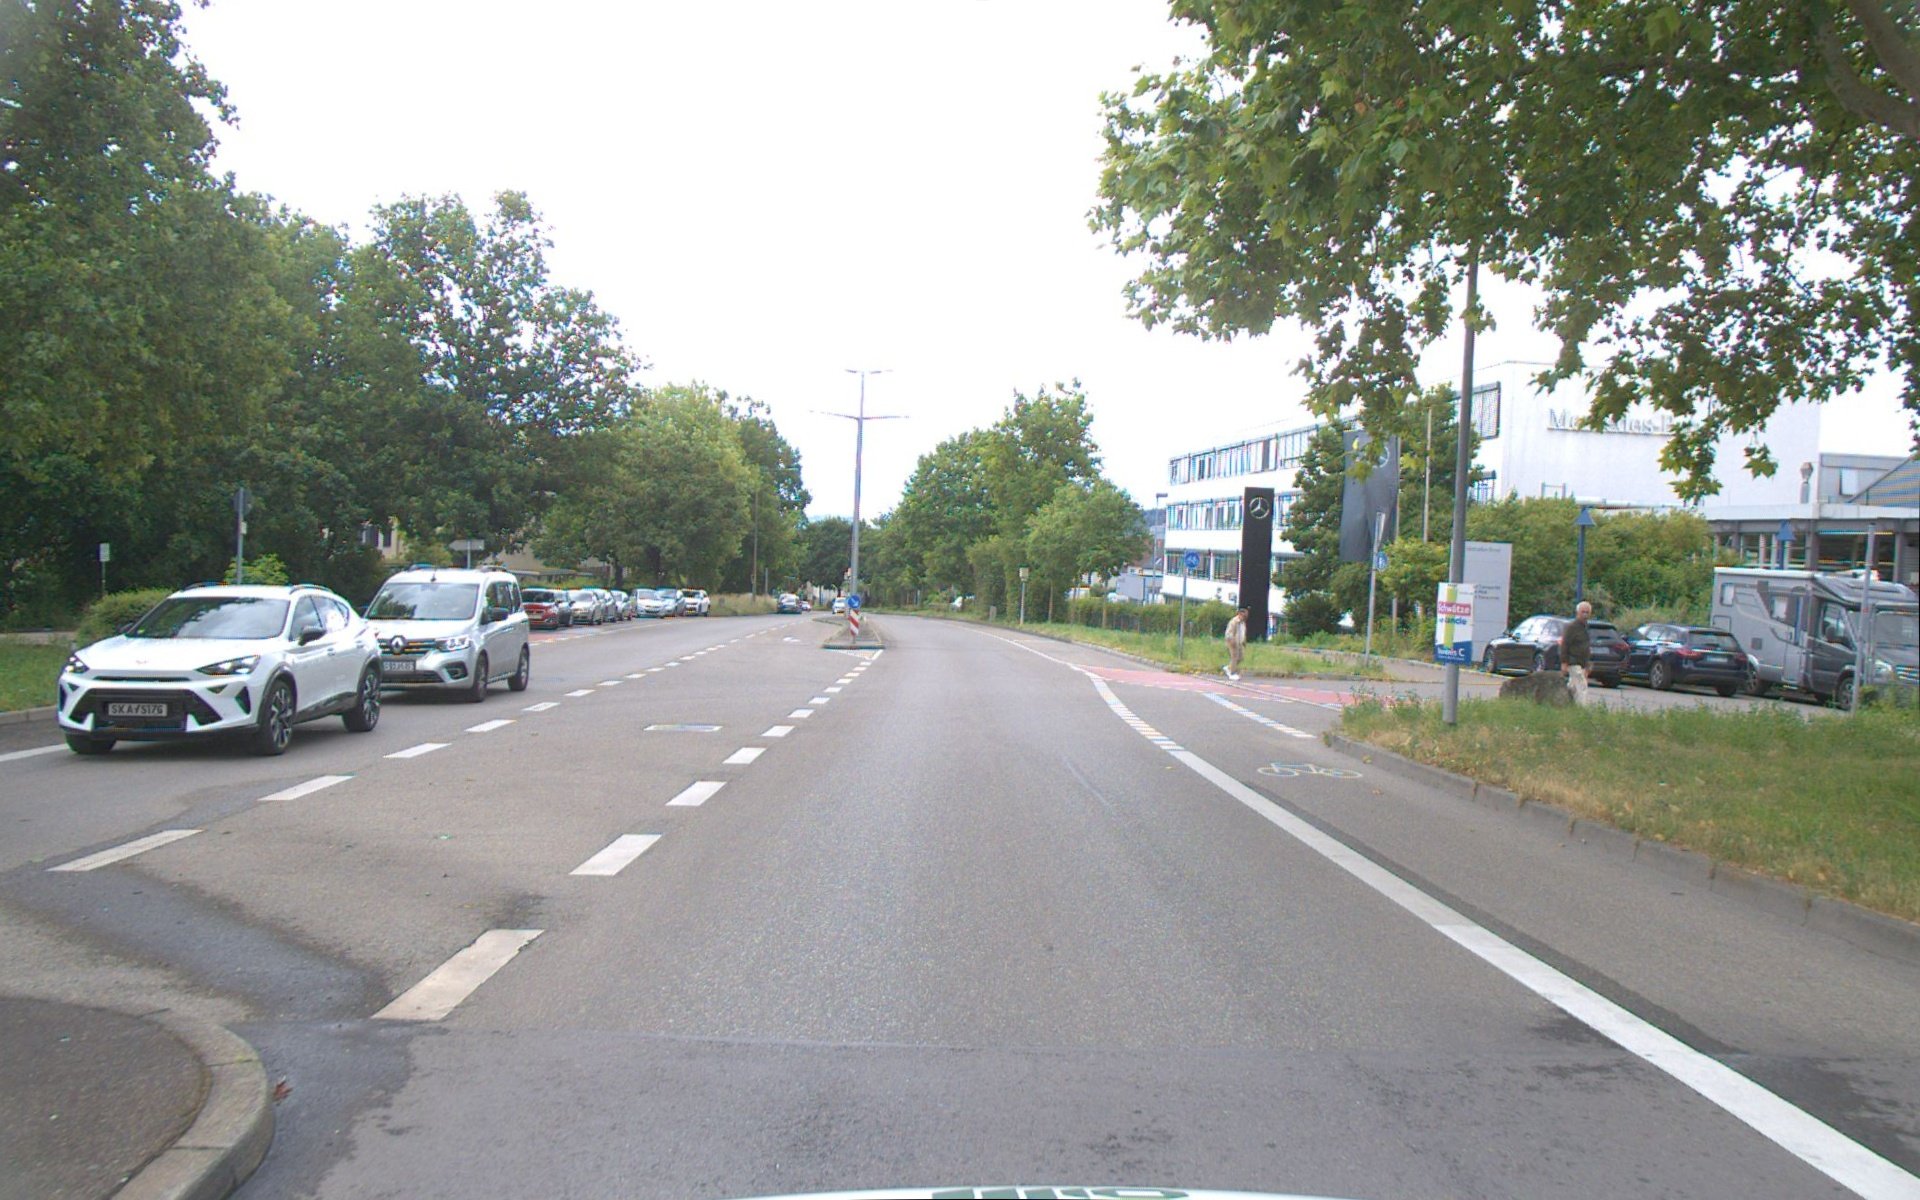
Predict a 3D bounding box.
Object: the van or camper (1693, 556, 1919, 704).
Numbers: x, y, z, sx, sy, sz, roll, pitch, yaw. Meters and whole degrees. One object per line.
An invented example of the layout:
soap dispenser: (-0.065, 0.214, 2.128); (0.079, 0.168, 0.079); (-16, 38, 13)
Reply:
van or camper: (18.889, 0.599, 36.487); (1.926, 2.918, 6.914); (2, 0, -4)

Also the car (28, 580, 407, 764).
car: (-7.067, 0.592, 16.368); (1.809, 1.547, 4.812); (0, 0, -3)

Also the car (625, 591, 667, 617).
car: (-17.631, 0.235, 92.801); (1.648, 1.327, 3.975); (2, 0, -21)

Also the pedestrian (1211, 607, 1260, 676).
pedestrian: (6.107, 0.914, 36.689); (0.777, 1.489, 0.744); (2, 0, -21)

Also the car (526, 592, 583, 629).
car: (-16.612, 0.405, 67.964); (1.640, 1.427, 3.996); (2, 0, -5)

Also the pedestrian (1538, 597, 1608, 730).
pedestrian: (8.695, 0.885, 23.452); (0.733, 1.833, 0.860); (1, 0, 33)

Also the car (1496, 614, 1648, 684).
car: (13.579, 1.047, 36.970); (1.676, 1.378, 4.343); (2, 0, -1)

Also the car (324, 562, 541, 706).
car: (-7.309, 0.422, 23.421); (1.809, 1.835, 4.647); (0, 0, -3)

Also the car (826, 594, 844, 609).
car: (-12.016, 0.156, 158.876); (1.579, 1.327, 3.998); (2, 0, -2)

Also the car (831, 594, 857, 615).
car: (-7.988, 0.289, 113.925); (1.579, 1.327, 3.998); (2, 0, -2)

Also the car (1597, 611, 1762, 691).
car: (16.083, 1.104, 37.221); (1.676, 1.534, 4.343); (4, 0, -1)

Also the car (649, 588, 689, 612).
car: (-17.240, 0.022, 98.047); (1.638, 1.327, 4.000); (2, 0, 0)

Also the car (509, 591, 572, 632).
car: (-15.983, 0.422, 63.191); (1.640, 1.427, 3.996); (2, 0, -5)

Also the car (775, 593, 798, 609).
car: (-14.831, 0.061, 141.528); (1.736, 1.327, 3.998); (2, 0, -2)

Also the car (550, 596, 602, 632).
car: (-16.758, 0.592, 72.349); (1.640, 1.427, 3.996); (2, 0, -5)

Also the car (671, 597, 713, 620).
car: (-16.696, 0.511, 103.287); (1.637, 1.327, 4.002); (2, 0, 4)
